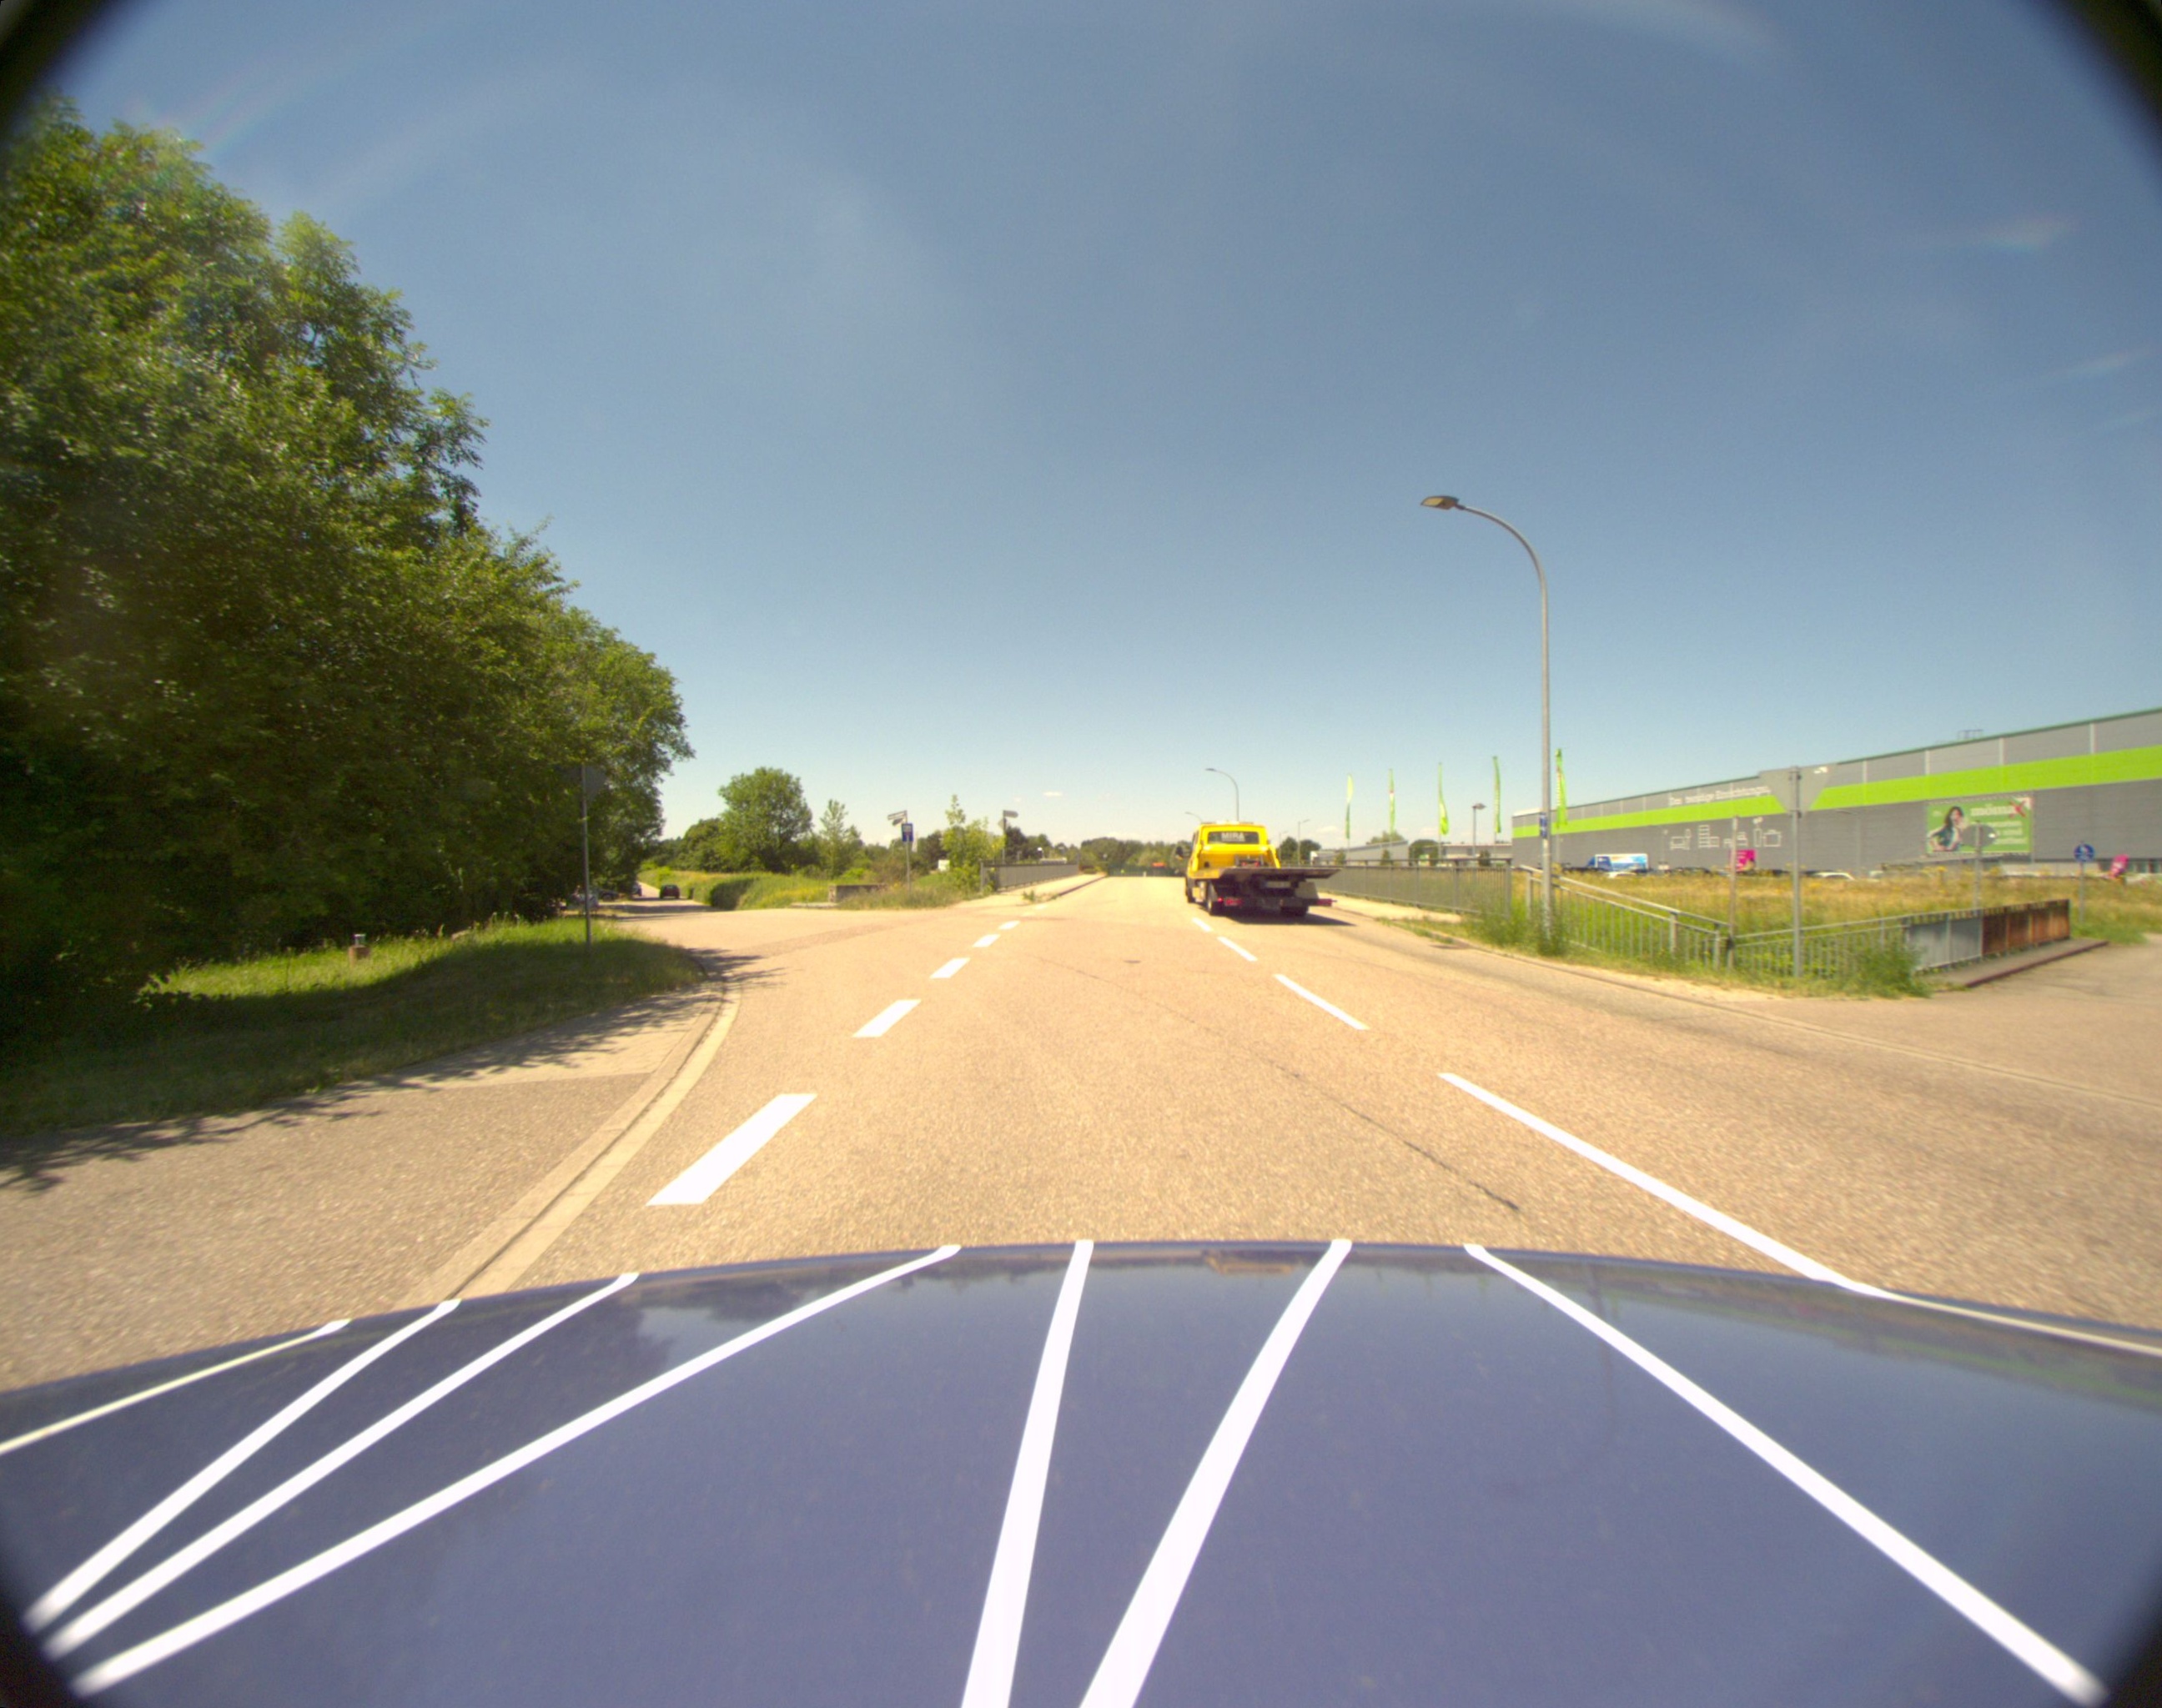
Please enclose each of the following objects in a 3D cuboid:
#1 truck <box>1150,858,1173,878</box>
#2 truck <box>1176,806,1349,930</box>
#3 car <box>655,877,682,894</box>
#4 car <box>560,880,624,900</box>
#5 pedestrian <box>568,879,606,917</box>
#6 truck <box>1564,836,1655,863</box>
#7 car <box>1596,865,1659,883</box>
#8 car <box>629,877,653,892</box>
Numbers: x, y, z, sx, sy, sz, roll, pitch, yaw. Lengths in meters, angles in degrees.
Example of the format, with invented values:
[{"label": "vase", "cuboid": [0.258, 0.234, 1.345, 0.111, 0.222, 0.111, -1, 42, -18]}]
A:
[{"label": "truck", "cuboid": [17.318, 2.975, 163.041, 2.843, 4.170, 8.146, -2, -2, 20]}, {"label": "truck", "cuboid": [4.043, 0.196, 19.114, 2.316, 2.324, 9.050, 1, 1, 1]}, {"label": "car", "cuboid": [-41.696, 3.139, 76.789, 2.004, 1.614, 4.501, 0, -1, -33]}, {"label": "car", "cuboid": [-41.856, 3.044, 65.060, 4.521, 1.614, 1.995, 0, -1, -34]}, {"label": "pedestrian", "cuboid": [-18.172, 1.615, 27.975, 0.681, 1.384, 0.852, 2, -2, 17]}, {"label": "truck", "cuboid": [57.788, -0.451, 83.168, 7.756, 2.667, 2.968, -2, -2, 42]}, {"label": "car", "cuboid": [47.050, 1.688, 65.514, 3.994, 1.428, 1.848, -2, -1, 8]}, {"label": "car", "cuboid": [-48.294, 3.318, 83.368, 2.004, 1.614, 4.501, 0, -1, -33]}]
